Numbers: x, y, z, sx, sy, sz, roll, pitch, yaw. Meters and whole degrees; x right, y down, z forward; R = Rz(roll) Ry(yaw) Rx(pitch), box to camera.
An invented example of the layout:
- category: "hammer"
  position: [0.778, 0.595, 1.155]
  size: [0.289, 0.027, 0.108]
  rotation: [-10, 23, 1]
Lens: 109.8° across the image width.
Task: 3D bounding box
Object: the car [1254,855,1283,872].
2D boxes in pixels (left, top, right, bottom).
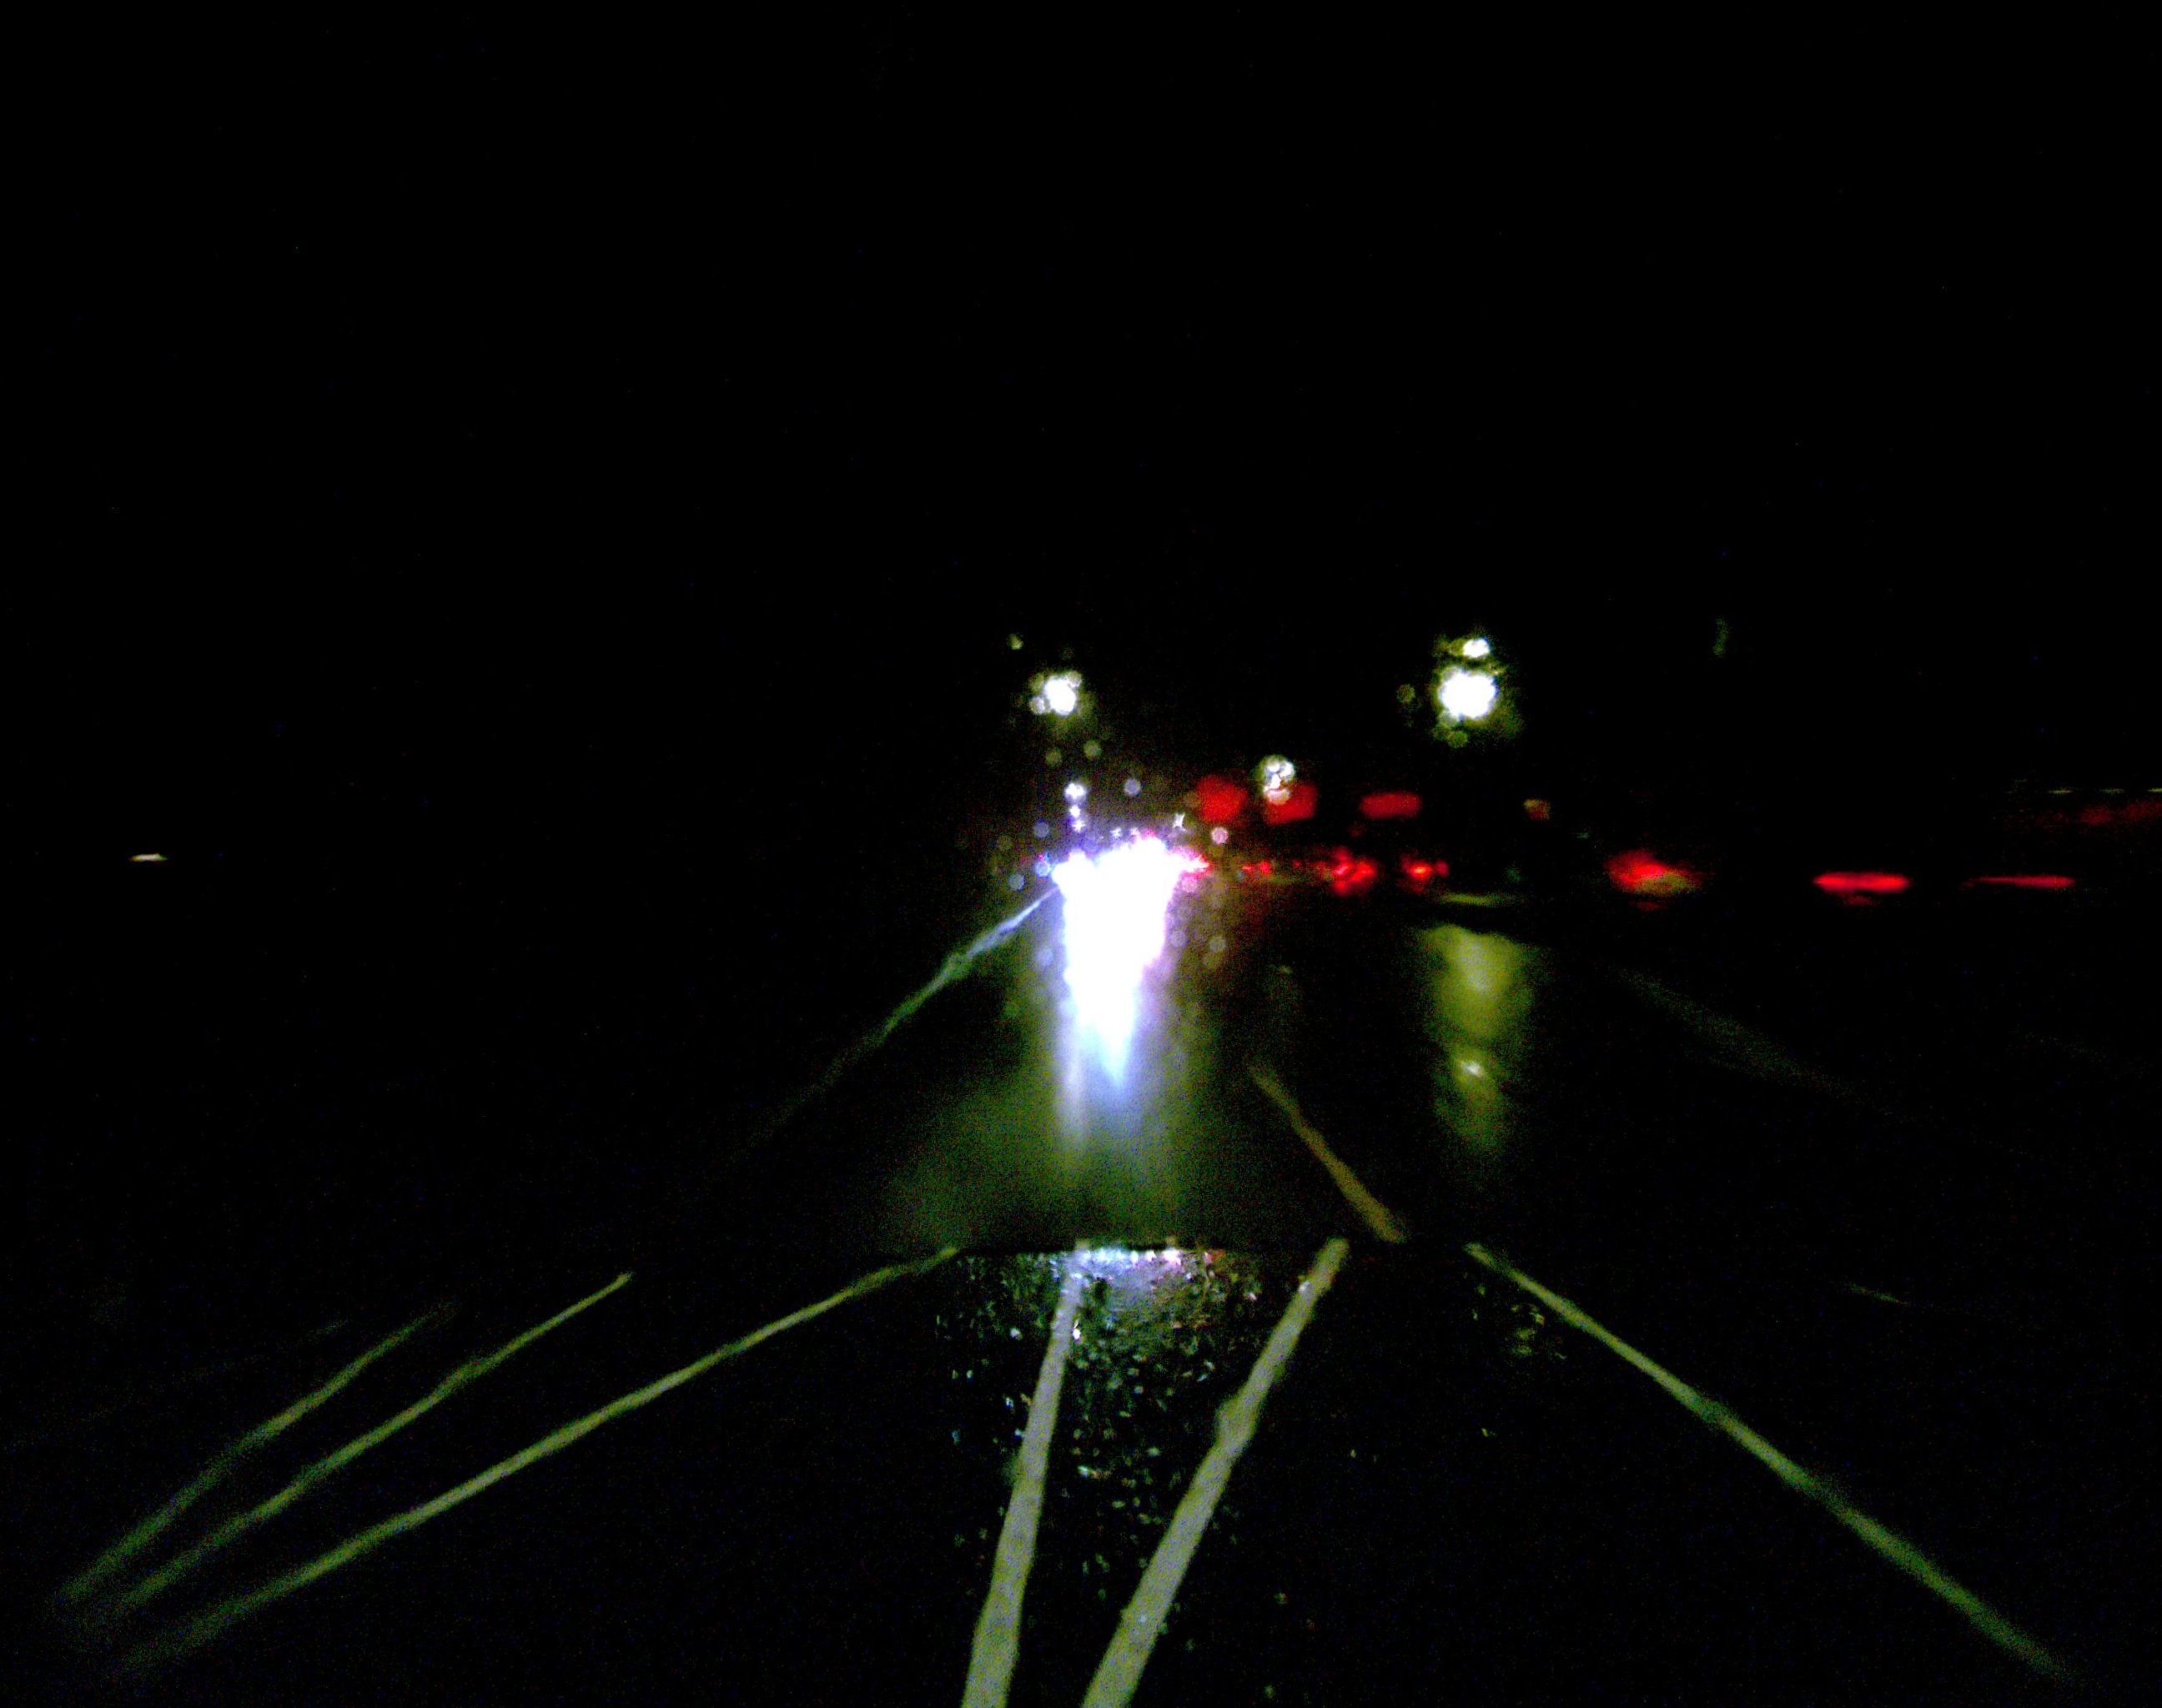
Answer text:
- category: "car"
  position: [18.588, 0.940, 75.605]
  size: [1.847, 1.583, 4.751]
  rotation: [-2, 0, 2]

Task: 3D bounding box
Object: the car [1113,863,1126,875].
- category: "car"
  position: [6.244, 2.454, 124.295]
  size: [1.833, 1.696, 4.194]
  rotation: [-2, 0, 1]

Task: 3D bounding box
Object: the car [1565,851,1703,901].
- category: "car"
  position: [19.820, 0.734, 27.504]
  size: [1.847, 1.583, 4.366]
  rotation: [-2, 0, 2]

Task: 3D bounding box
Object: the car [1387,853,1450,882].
- category: "car"
  position: [20.006, 0.787, 45.217]
  size: [1.847, 1.583, 4.366]
  rotation: [-2, 0, 2]

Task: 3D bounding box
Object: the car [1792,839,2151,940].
- category: "car"
  position: [16.650, 0.594, 14.654]
  size: [1.847, 1.583, 4.366]
  rotation: [-2, 0, 2]

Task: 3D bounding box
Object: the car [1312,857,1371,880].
- category: "car"
  position: [16.926, 0.927, 49.622]
  size: [1.848, 1.350, 5.558]
  rotation: [-2, 0, -1]

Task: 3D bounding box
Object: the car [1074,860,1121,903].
- category: "car"
  position: [0.754, 1.198, 34.778]
  size: [1.950, 1.709, 4.442]
  rotation: [-2, 0, 1]

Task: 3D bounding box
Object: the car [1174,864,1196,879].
- category: "car"
  position: [12.098, 2.023, 88.603]
  size: [1.848, 1.583, 4.256]
  rotation: [2, 0, -1]

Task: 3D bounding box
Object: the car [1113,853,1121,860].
- category: "car"
  position: [9.754, 0.624, 205.528]
  size: [1.833, 1.696, 4.194]
  rotation: [-2, 0, 1]

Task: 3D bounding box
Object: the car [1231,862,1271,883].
- category: "car"
  position: [14.155, 1.489, 63.684]
  size: [1.848, 1.583, 5.326]
  rotation: [-2, 0, -3]

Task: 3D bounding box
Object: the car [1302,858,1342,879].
- category: "car"
  position: [20.209, 1.180, 63.977]
  size: [1.848, 1.583, 4.750]
  rotation: [-2, 0, 1]

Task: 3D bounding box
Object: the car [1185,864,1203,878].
- category: "car"
  position: [14.581, 2.168, 98.019]
  size: [1.711, 1.568, 3.820]
  rotation: [-2, 0, -1]

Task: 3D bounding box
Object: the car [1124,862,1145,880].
- category: "car"
  position: [5.397, 1.716, 76.606]
  size: [1.833, 1.696, 4.194]
  rotation: [-2, 0, 1]

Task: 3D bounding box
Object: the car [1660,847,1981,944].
- category: "car"
  position: [13.464, 0.671, 14.317]
  size: [1.847, 1.477, 4.366]
  rotation: [-2, 0, 2]

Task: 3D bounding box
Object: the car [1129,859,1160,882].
- category: "car"
  position: [4.439, 1.123, 53.740]
  size: [1.833, 1.518, 4.875]
  rotation: [-2, 0, 1]
